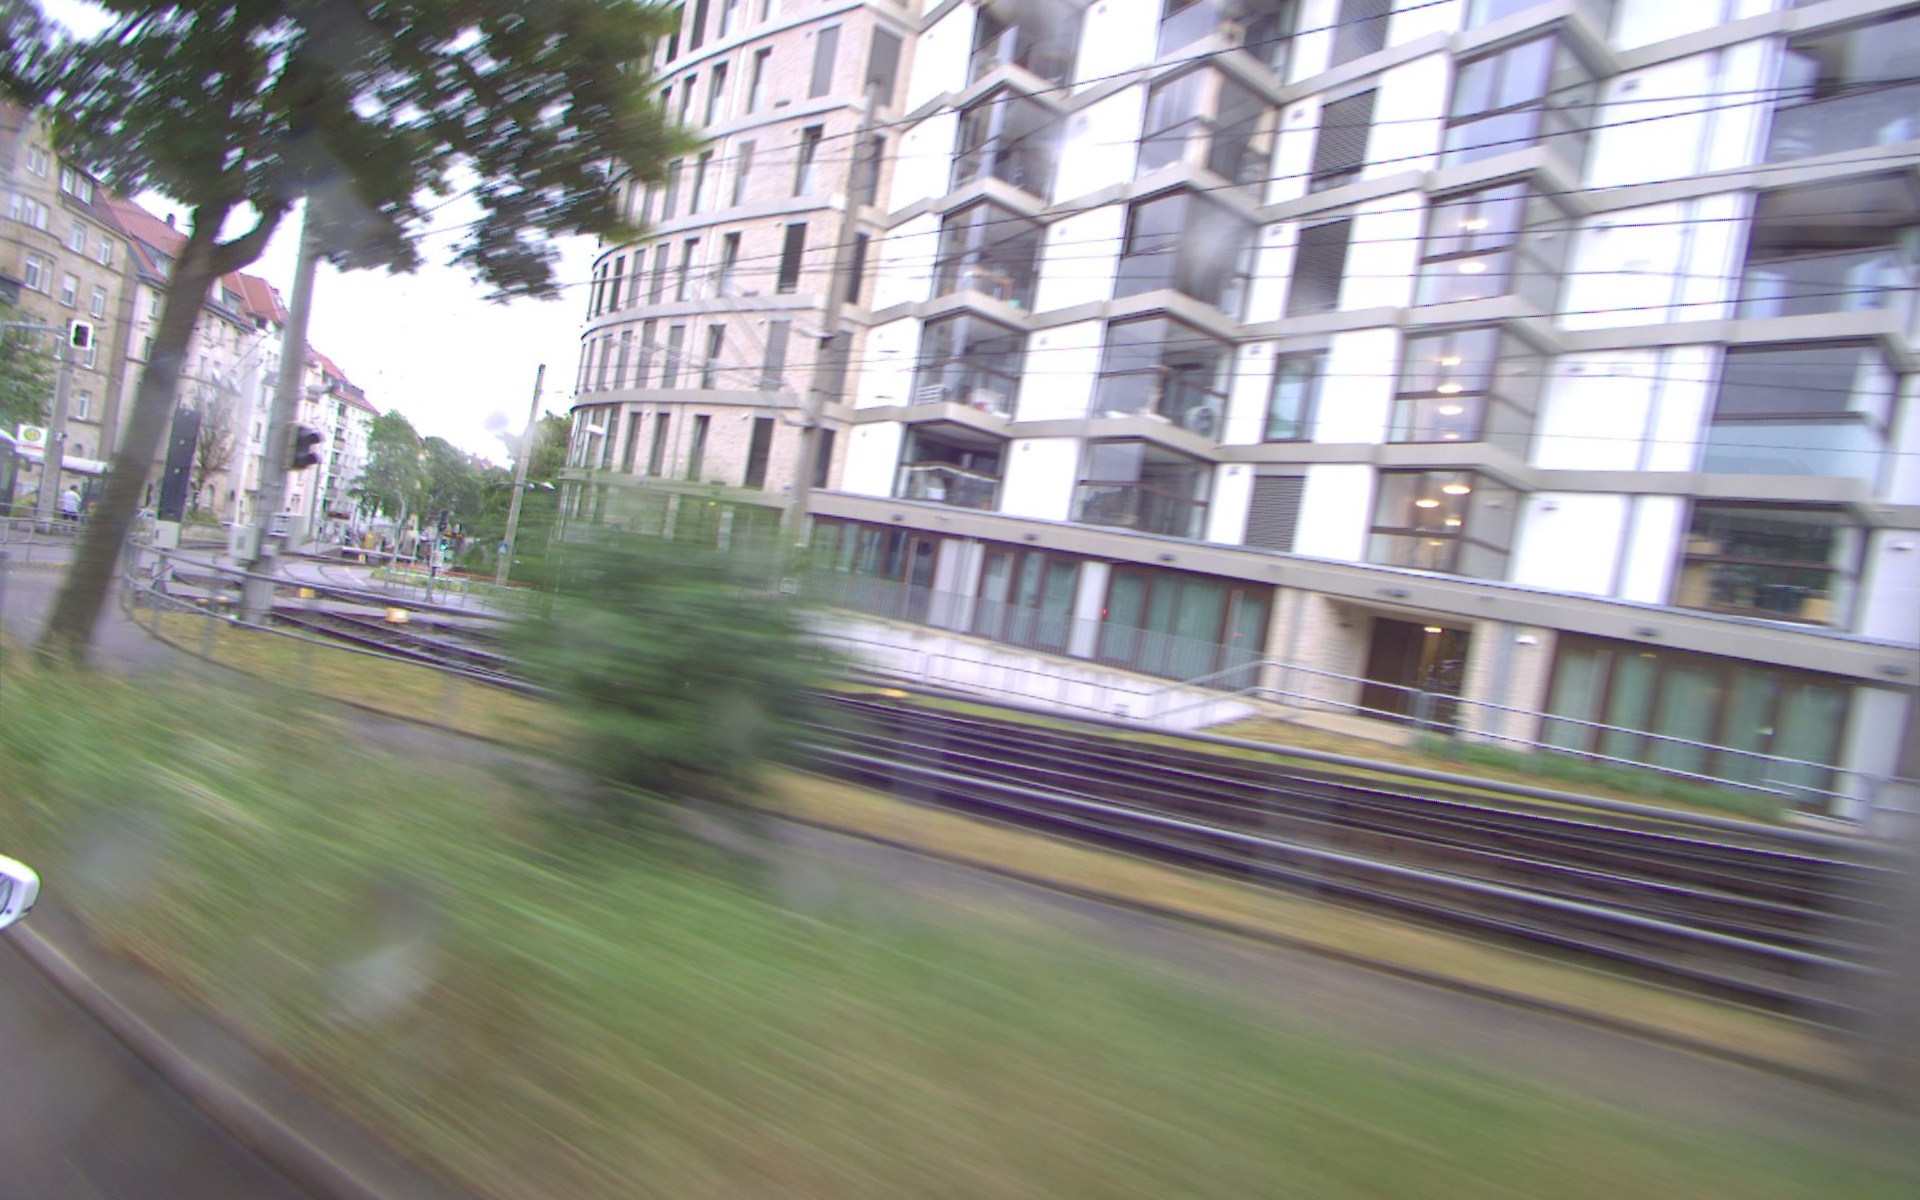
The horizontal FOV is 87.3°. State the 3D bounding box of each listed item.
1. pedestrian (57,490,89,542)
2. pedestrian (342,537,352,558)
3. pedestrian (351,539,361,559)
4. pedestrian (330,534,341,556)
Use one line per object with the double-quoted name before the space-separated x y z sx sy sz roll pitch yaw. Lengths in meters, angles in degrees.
"pedestrian" -31.914 -3.008 36.203 0.572 1.772 0.539 8 -1 -29
"pedestrian" -57.620 -4.945 94.540 0.510 1.859 0.759 6 -1 -19
"pedestrian" -58.761 -4.945 97.879 0.510 1.859 0.759 6 -1 -19
"pedestrian" -55.895 -4.892 89.995 0.554 1.872 0.596 6 -1 -19
